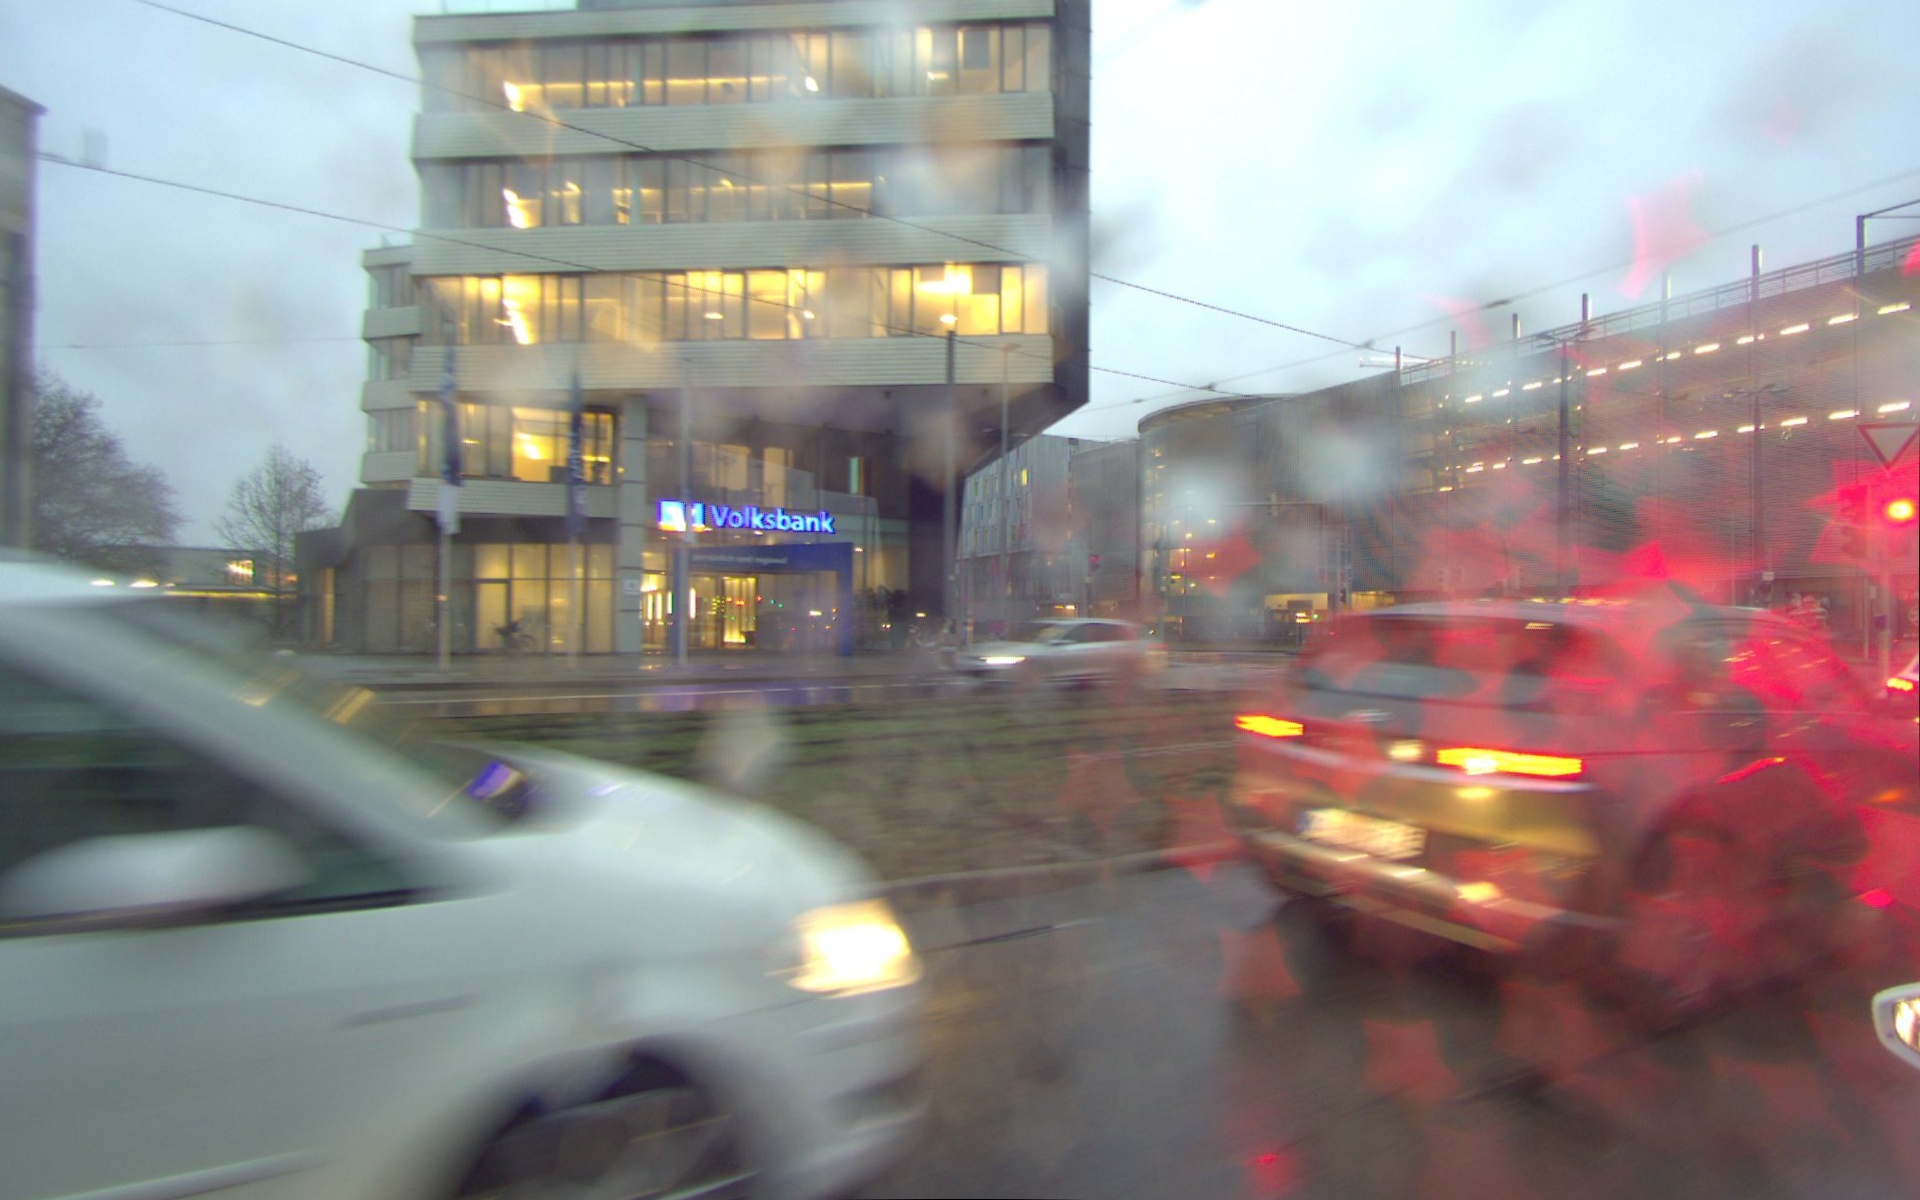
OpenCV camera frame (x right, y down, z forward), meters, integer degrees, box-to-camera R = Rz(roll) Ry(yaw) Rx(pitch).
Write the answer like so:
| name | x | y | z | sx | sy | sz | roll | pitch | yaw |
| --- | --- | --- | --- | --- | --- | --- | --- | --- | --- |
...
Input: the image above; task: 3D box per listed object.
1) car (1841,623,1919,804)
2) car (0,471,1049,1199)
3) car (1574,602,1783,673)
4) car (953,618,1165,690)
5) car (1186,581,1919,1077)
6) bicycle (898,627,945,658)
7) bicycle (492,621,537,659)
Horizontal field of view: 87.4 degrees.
| name | x | y | z | sx | sy | sz | roll | pitch | yaw |
| --- | --- | --- | --- | --- | --- | --- | --- | --- | --- |
| car | 9.733 | 0.970 | 9.035 | 3.875 | 1.483 | 1.748 | 1 | -1 | -33 |
| car | -2.023 | 0.634 | 1.928 | 4.171 | 1.620 | 1.664 | 1 | -1 | -29 |
| car | 20.112 | 1.041 | 28.202 | 4.872 | 1.896 | 1.902 | 0 | -1 | -9 |
| car | 2.164 | 1.123 | 21.438 | 4.424 | 1.404 | 1.632 | 1 | -2 | -30 |
| car | 3.366 | 0.793 | 5.170 | 4.314 | 1.591 | 1.811 | 1 | -2 | -32 |
| bicycle | -1.388 | 1.504 | 36.085 | 1.581 | 1.084 | 0.638 | 0 | -1 | -28 |
| bicycle | -13.728 | 1.220 | 31.012 | 0.518 | 1.142 | 1.499 | 0 | -1 | 9 |
